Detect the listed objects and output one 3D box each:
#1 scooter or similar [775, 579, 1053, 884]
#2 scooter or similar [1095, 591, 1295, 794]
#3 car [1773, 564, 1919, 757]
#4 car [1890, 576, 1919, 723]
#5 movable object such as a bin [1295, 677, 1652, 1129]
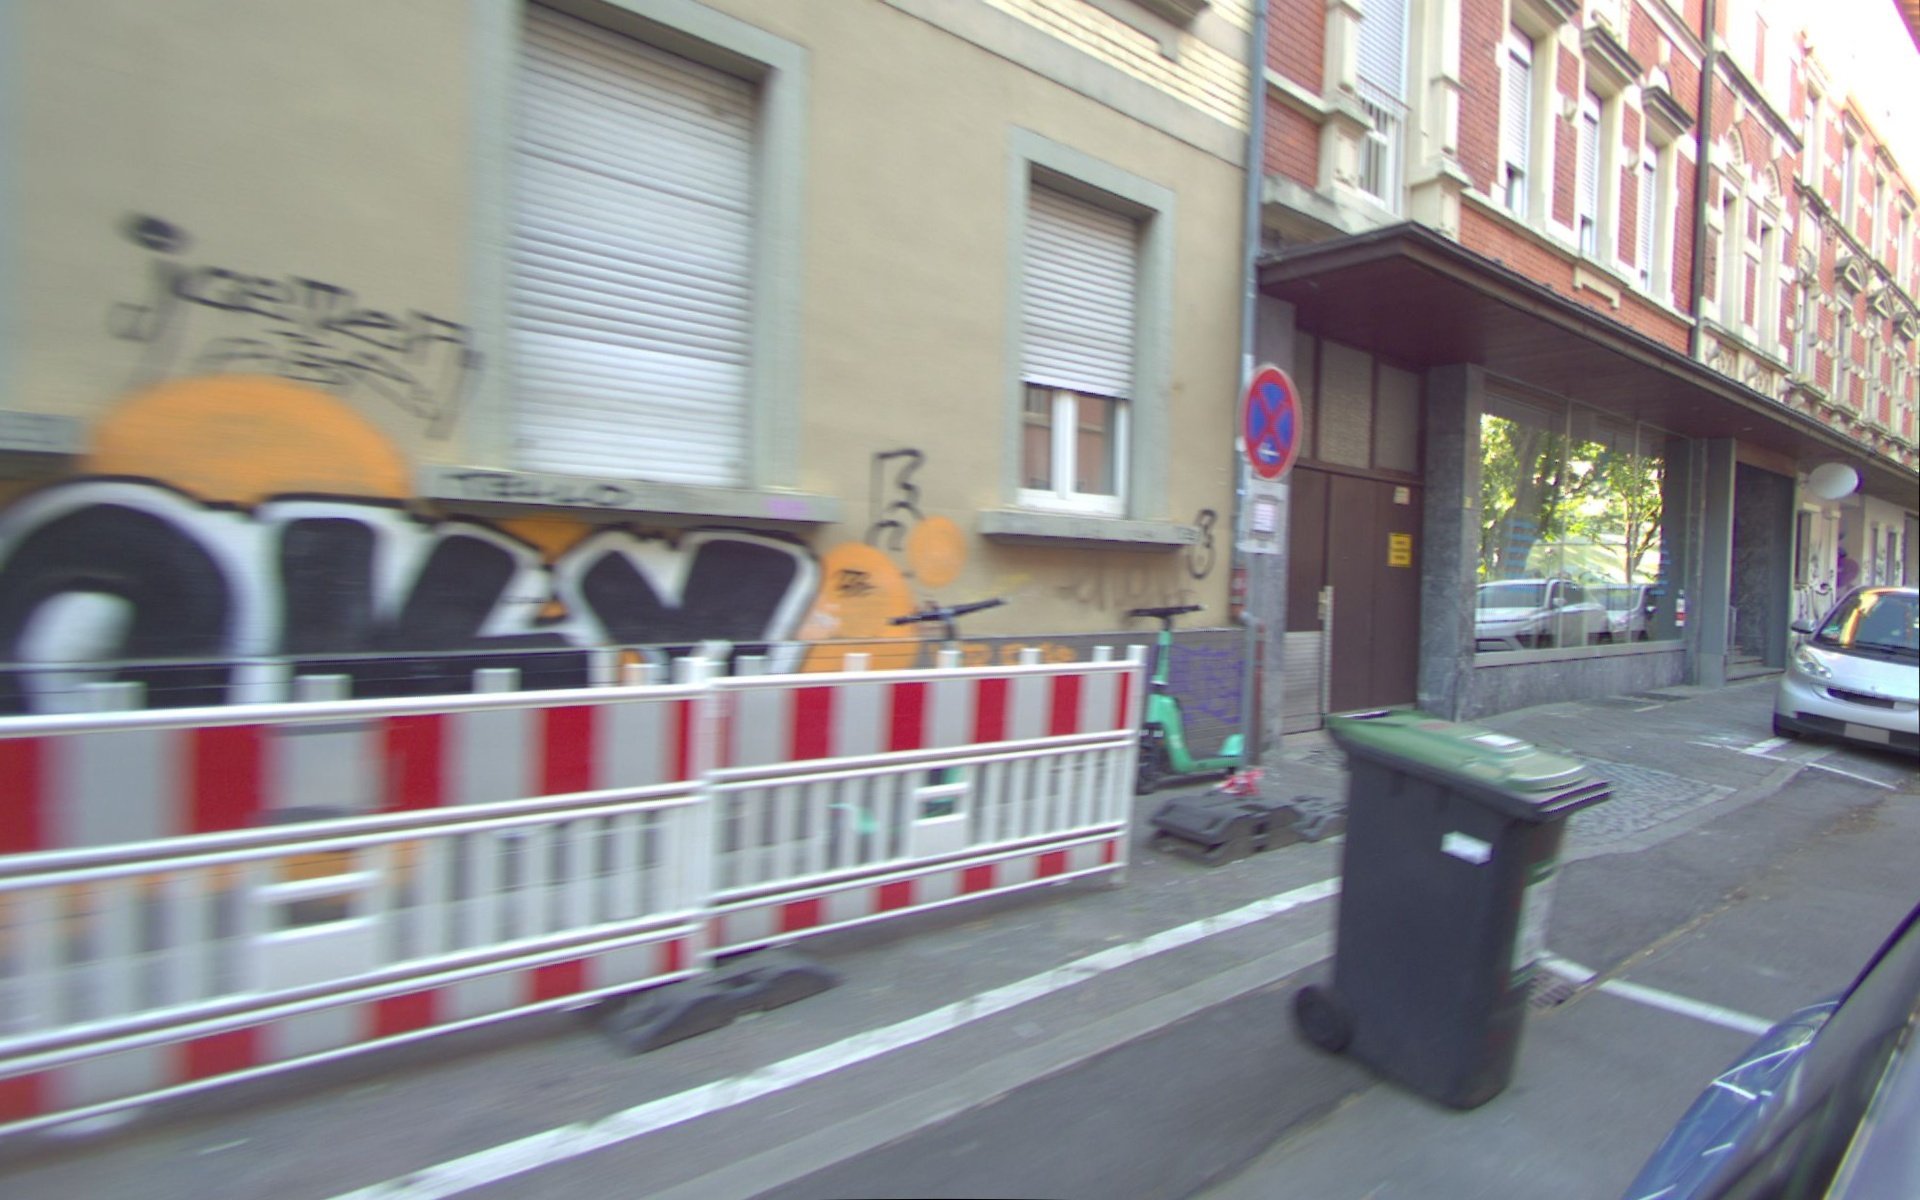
[{"bbox_3d":[-0.170,0.534,4.884,0.454,1.224,1.424,6,5,39],"label":"scooter or similar"},{"bbox_3d":[1.530,0.537,6.477,1.418,1.157,0.389,0,5,-39],"label":"scooter or similar"},{"bbox_3d":[9.442,0.533,9.851,3.400,1.551,1.527,0,7,-39],"label":"car"},{"bbox_3d":[12.908,0.556,12.427,3.986,1.683,1.603,0,0,-39],"label":"car"},{"bbox_3d":[1.577,0.831,3.139,0.675,1.070,0.742,0,2,-38],"label":"movable object such as a bin"}]
